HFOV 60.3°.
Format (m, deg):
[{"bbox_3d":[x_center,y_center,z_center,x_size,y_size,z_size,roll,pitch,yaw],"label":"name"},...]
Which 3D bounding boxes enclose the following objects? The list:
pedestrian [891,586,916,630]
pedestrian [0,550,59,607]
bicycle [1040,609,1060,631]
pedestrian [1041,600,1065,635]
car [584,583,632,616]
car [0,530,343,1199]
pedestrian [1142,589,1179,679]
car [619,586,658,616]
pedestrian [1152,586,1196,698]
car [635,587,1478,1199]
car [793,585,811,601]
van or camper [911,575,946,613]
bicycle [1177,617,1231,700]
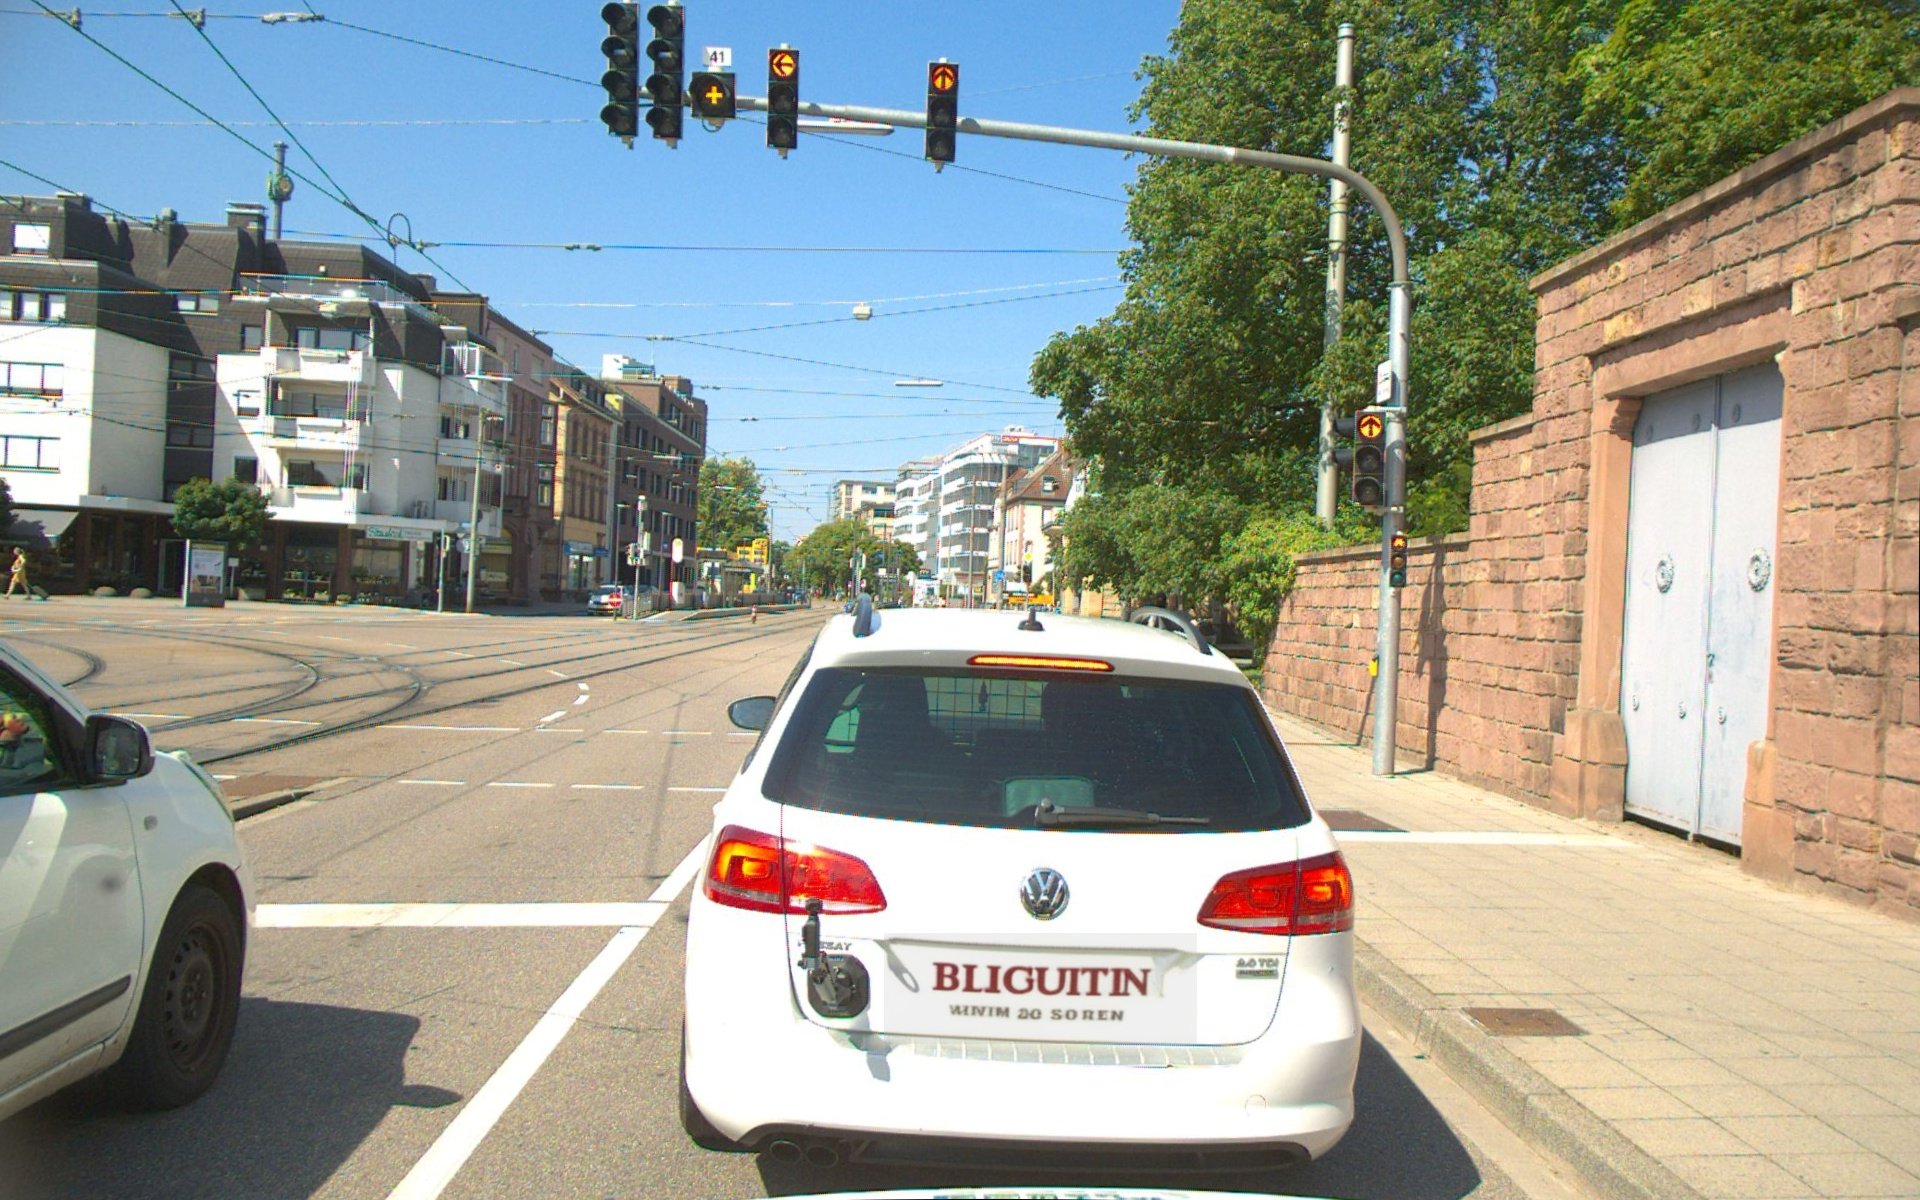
[{"bbox_3d":[-2.422,0.338,70.741,0.813,1.841,0.830,2,0,16],"label":"pedestrian"},{"bbox_3d":[-31.948,-0.740,56.753,1.102,1.868,1.432,2,0,39],"label":"pedestrian"},{"bbox_3d":[4.930,1.110,90.444,0.710,1.159,2.196,2,0,11],"label":"bicycle"},{"bbox_3d":[4.258,0.804,75.445,0.838,1.536,0.781,2,0,21],"label":"pedestrian"},{"bbox_3d":[-17.015,-0.010,80.072,1.593,1.456,3.961,4,0,-3],"label":"car"},{"bbox_3d":[-2.900,0.630,3.441,1.730,1.588,4.066,1,0,-1],"label":"car"},{"bbox_3d":[3.892,0.653,32.186,0.636,1.711,0.708,2,0,5],"label":"pedestrian"},{"bbox_3d":[-17.066,0.031,87.859,1.542,1.484,3.811,2,0,-4],"label":"car"},{"bbox_3d":[3.046,0.596,23.614,0.529,1.576,0.663,0,0,-2],"label":"pedestrian"},{"bbox_3d":[0.178,0.725,5.374,1.717,1.442,3.852,2,0,-1],"label":"car"},{"bbox_3d":[-19.972,-0.862,209.314,1.954,2.049,3.998,1,0,-3],"label":"car"},{"bbox_3d":[-2.894,-0.554,150.810,2.885,3.235,6.609,2,0,-3],"label":"van or camper"},{"bbox_3d":[3.496,0.815,23.786,0.525,1.131,1.807,1,-1,1],"label":"bicycle"}]
